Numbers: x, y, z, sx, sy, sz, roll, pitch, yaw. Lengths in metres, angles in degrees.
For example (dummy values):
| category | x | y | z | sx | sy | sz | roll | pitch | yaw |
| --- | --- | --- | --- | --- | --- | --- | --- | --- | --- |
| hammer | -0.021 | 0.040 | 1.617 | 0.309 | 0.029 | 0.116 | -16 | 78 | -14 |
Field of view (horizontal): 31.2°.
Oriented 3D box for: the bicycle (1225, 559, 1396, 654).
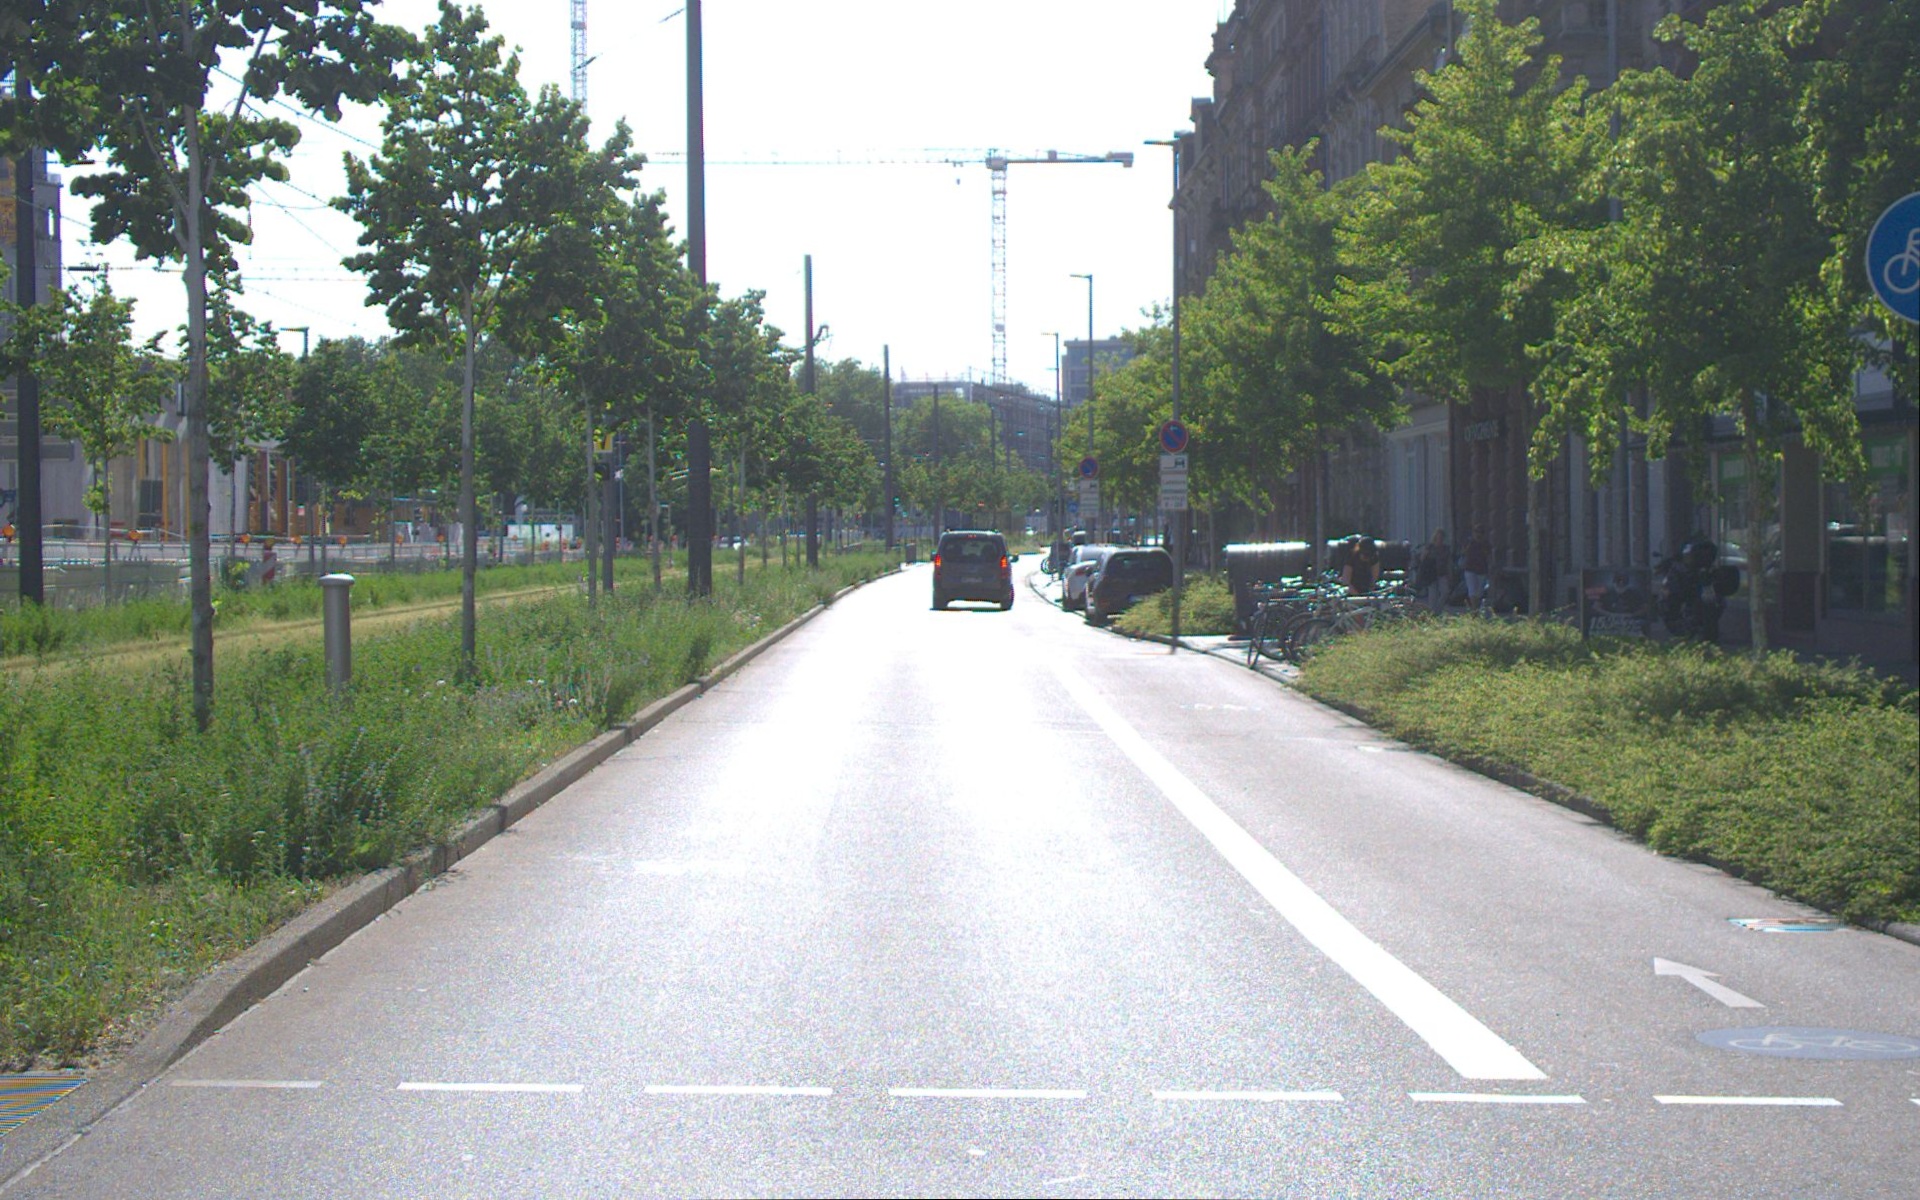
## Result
| category | x | y | z | sx | sy | sz | roll | pitch | yaw |
| --- | --- | --- | --- | --- | --- | --- | --- | --- | --- |
| bicycle | 4.487 | 0.077 | 44.039 | 2.043 | 1.103 | 0.611 | -3 | 1 | -6 |

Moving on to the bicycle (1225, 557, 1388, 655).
| category | x | y | z | sx | sy | sz | roll | pitch | yaw |
| --- | --- | --- | --- | --- | --- | --- | --- | --- | --- |
| bicycle | 4.478 | 0.076 | 44.447 | 1.974 | 1.120 | 0.482 | -4 | 2 | -5 |

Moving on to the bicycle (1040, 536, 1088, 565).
| category | x | y | z | sx | sy | sz | roll | pitch | yaw |
| --- | --- | --- | --- | --- | --- | --- | --- | --- | --- |
| bicycle | 4.212 | -1.999 | 139.169 | 1.824 | 1.075 | 0.665 | -3 | 1 | -6 |

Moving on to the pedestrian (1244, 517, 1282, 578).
| category | x | y | z | sx | sy | sz | roll | pitch | yaw |
| --- | --- | --- | --- | --- | --- | --- | --- | --- | --- |
| pedestrian | 8.627 | -1.486 | 97.930 | 0.996 | 1.725 | 0.866 | 1 | 0 | 0 |

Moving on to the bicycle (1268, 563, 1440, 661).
| category | x | y | z | sx | sy | sz | roll | pitch | yaw |
| --- | --- | --- | --- | --- | --- | --- | --- | --- | --- |
| bicycle | 4.747 | 0.141 | 41.445 | 1.977 | 1.104 | 0.435 | -2 | 1 | -3 |

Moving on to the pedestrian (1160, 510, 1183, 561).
| category | x | y | z | sx | sy | sz | roll | pitch | yaw |
| --- | --- | --- | --- | --- | --- | --- | --- | --- | --- |
| pedestrian | 8.476 | -2.598 | 137.991 | 0.817 | 2.007 | 1.046 | 1 | -1 | 0 |

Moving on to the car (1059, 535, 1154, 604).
| category | x | y | z | sx | sy | sz | roll | pitch | yaw |
| --- | --- | --- | --- | --- | --- | --- | --- | --- | --- |
| car | 3.384 | -0.729 | 80.276 | 1.951 | 1.490 | 5.105 | -2 | 1 | 0 |

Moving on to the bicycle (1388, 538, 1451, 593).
| category | x | y | z | sx | sy | sz | roll | pitch | yaw |
| --- | --- | --- | --- | --- | --- | --- | --- | --- | --- |
| bicycle | 9.735 | -0.739 | 72.896 | 0.875 | 1.101 | 2.182 | -3 | 1 | -3 |

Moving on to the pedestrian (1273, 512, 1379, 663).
| category | x | y | z | sx | sy | sz | roll | pitch | yaw |
| --- | --- | --- | --- | --- | --- | --- | --- | --- | --- |
| pedestrian | 4.373 | -0.157 | 41.133 | 0.899 | 1.730 | 0.850 | -4 | 1 | -16 |

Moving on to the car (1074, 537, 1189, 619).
| category | x | y | z | sx | sy | sz | roll | pitch | yaw |
| --- | --- | --- | --- | --- | --- | --- | --- | --- | --- |
| car | 3.339 | -0.437 | 67.570 | 1.765 | 1.472 | 4.449 | -3 | 1 | -3 |

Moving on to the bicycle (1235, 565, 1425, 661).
| category | x | y | z | sx | sy | sz | roll | pitch | yaw |
| --- | --- | --- | --- | --- | --- | --- | --- | --- | --- |
| bicycle | 4.588 | 0.155 | 42.611 | 2.284 | 1.098 | 0.486 | -2 | 1 | -14 |

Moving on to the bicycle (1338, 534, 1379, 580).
| category | x | y | z | sx | sy | sz | roll | pitch | yaw |
| --- | --- | --- | --- | --- | --- | --- | --- | --- | --- |
| bicycle | 9.736 | -1.054 | 84.062 | 0.721 | 1.086 | 2.198 | -1 | 1 | 0 |

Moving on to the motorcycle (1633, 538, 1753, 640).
| category | x | y | z | sx | sy | sz | roll | pitch | yaw |
| --- | --- | --- | --- | --- | --- | --- | --- | --- | --- |
| motorcycle | 9.440 | -0.148 | 44.381 | 0.866 | 1.262 | 2.982 | 1 | 1 | -1 |

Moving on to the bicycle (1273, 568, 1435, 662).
| category | x | y | z | sx | sy | sz | roll | pitch | yaw |
| --- | --- | --- | --- | --- | --- | --- | --- | --- | --- |
| bicycle | 4.706 | 0.177 | 41.102 | 1.814 | 1.052 | 0.572 | -2 | 1 | -6 |

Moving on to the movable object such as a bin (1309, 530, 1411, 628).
| category | x | y | z | sx | sy | sz | roll | pitch | yaw |
| --- | --- | --- | --- | --- | --- | --- | --- | --- | --- |
| movable object such as a bin | 6.370 | -0.338 | 54.863 | 1.373 | 1.490 | 1.749 | -3 | 0 | 1 |

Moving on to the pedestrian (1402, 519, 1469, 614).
| category | x | y | z | sx | sy | sz | roll | pitch | yaw |
| --- | --- | --- | --- | --- | --- | --- | --- | --- | --- |
| pedestrian | 8.094 | -0.573 | 58.552 | 0.950 | 1.561 | 1.080 | -1 | 2 | -1 |

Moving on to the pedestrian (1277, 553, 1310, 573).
| category | x | y | z | sx | sy | sz | roll | pitch | yaw |
| --- | --- | --- | --- | --- | --- | --- | --- | --- | --- |
| pedestrian | 9.781 | -1.089 | 100.857 | 0.773 | 0.551 | 2.008 | -1 | 2 | 0 |

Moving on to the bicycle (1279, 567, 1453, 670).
| category | x | y | z | sx | sy | sz | roll | pitch | yaw |
| --- | --- | --- | --- | --- | --- | --- | --- | --- | --- |
| bicycle | 4.675 | 0.207 | 39.630 | 1.891 | 1.105 | 0.518 | -2 | 1 | -5 |

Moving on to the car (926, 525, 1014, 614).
| category | x | y | z | sx | sy | sz | roll | pitch | yaw |
| --- | --- | --- | --- | --- | --- | --- | --- | --- | --- |
| car | 0.238 | -0.707 | 80.430 | 1.993 | 2.007 | 4.000 | 1 | 1 | 0 |

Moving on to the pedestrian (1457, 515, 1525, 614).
| category | x | y | z | sx | sy | sz | roll | pitch | yaw |
| --- | --- | --- | --- | --- | --- | --- | --- | --- | --- |
| pedestrian | 9.049 | -0.613 | 58.586 | 0.971 | 1.633 | 0.992 | -1 | 2 | 0 |

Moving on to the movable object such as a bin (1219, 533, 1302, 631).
| category | x | y | z | sx | sy | sz | roll | pitch | yaw |
| --- | --- | --- | --- | --- | --- | --- | --- | --- | --- |
| movable object such as a bin | 4.775 | -0.302 | 54.690 | 1.271 | 1.458 | 1.644 | 1 | 3 | 4 |

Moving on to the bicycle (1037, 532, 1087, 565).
| category | x | y | z | sx | sy | sz | roll | pitch | yaw |
| --- | --- | --- | --- | --- | --- | --- | --- | --- | --- |
| bicycle | 4.085 | -2.047 | 137.634 | 1.878 | 1.229 | 0.500 | -3 | 1 | -5 |
